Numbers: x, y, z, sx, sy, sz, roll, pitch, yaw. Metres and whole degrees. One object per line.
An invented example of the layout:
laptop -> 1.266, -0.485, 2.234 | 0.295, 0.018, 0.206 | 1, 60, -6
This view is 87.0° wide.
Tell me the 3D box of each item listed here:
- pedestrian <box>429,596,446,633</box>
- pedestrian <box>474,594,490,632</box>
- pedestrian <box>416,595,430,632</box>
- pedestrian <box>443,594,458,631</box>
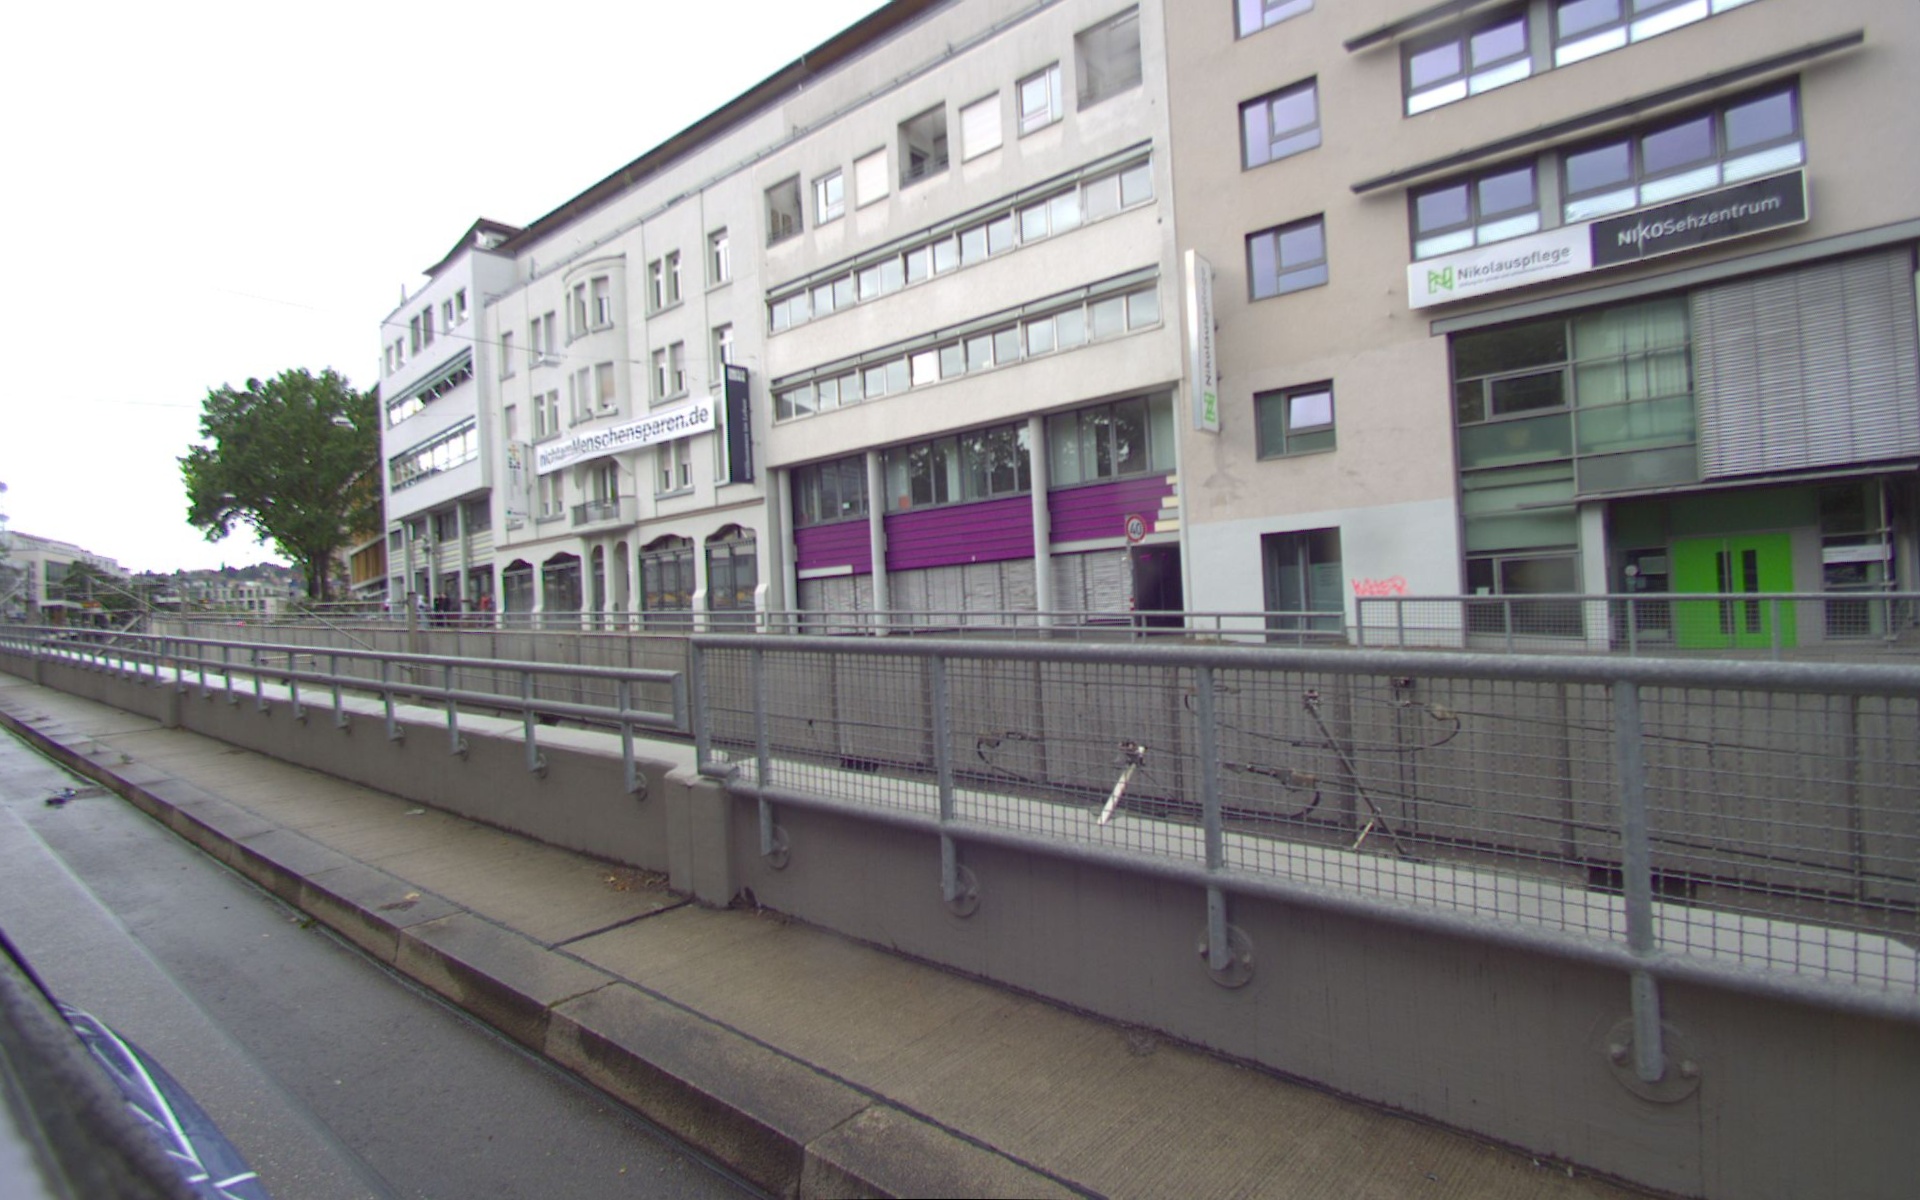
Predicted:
pedestrian -> -26.427, 0.729, 51.217 | 0.469, 1.816, 0.541 | -2, 1, 33
pedestrian -> -23.022, 0.630, 48.746 | 0.547, 1.816, 0.464 | -1, 1, 40
pedestrian -> -26.806, 0.674, 50.528 | 0.463, 1.816, 0.548 | -3, 1, -42
pedestrian -> -25.413, 0.629, 50.469 | 0.547, 1.816, 0.463 | -2, 1, 44
